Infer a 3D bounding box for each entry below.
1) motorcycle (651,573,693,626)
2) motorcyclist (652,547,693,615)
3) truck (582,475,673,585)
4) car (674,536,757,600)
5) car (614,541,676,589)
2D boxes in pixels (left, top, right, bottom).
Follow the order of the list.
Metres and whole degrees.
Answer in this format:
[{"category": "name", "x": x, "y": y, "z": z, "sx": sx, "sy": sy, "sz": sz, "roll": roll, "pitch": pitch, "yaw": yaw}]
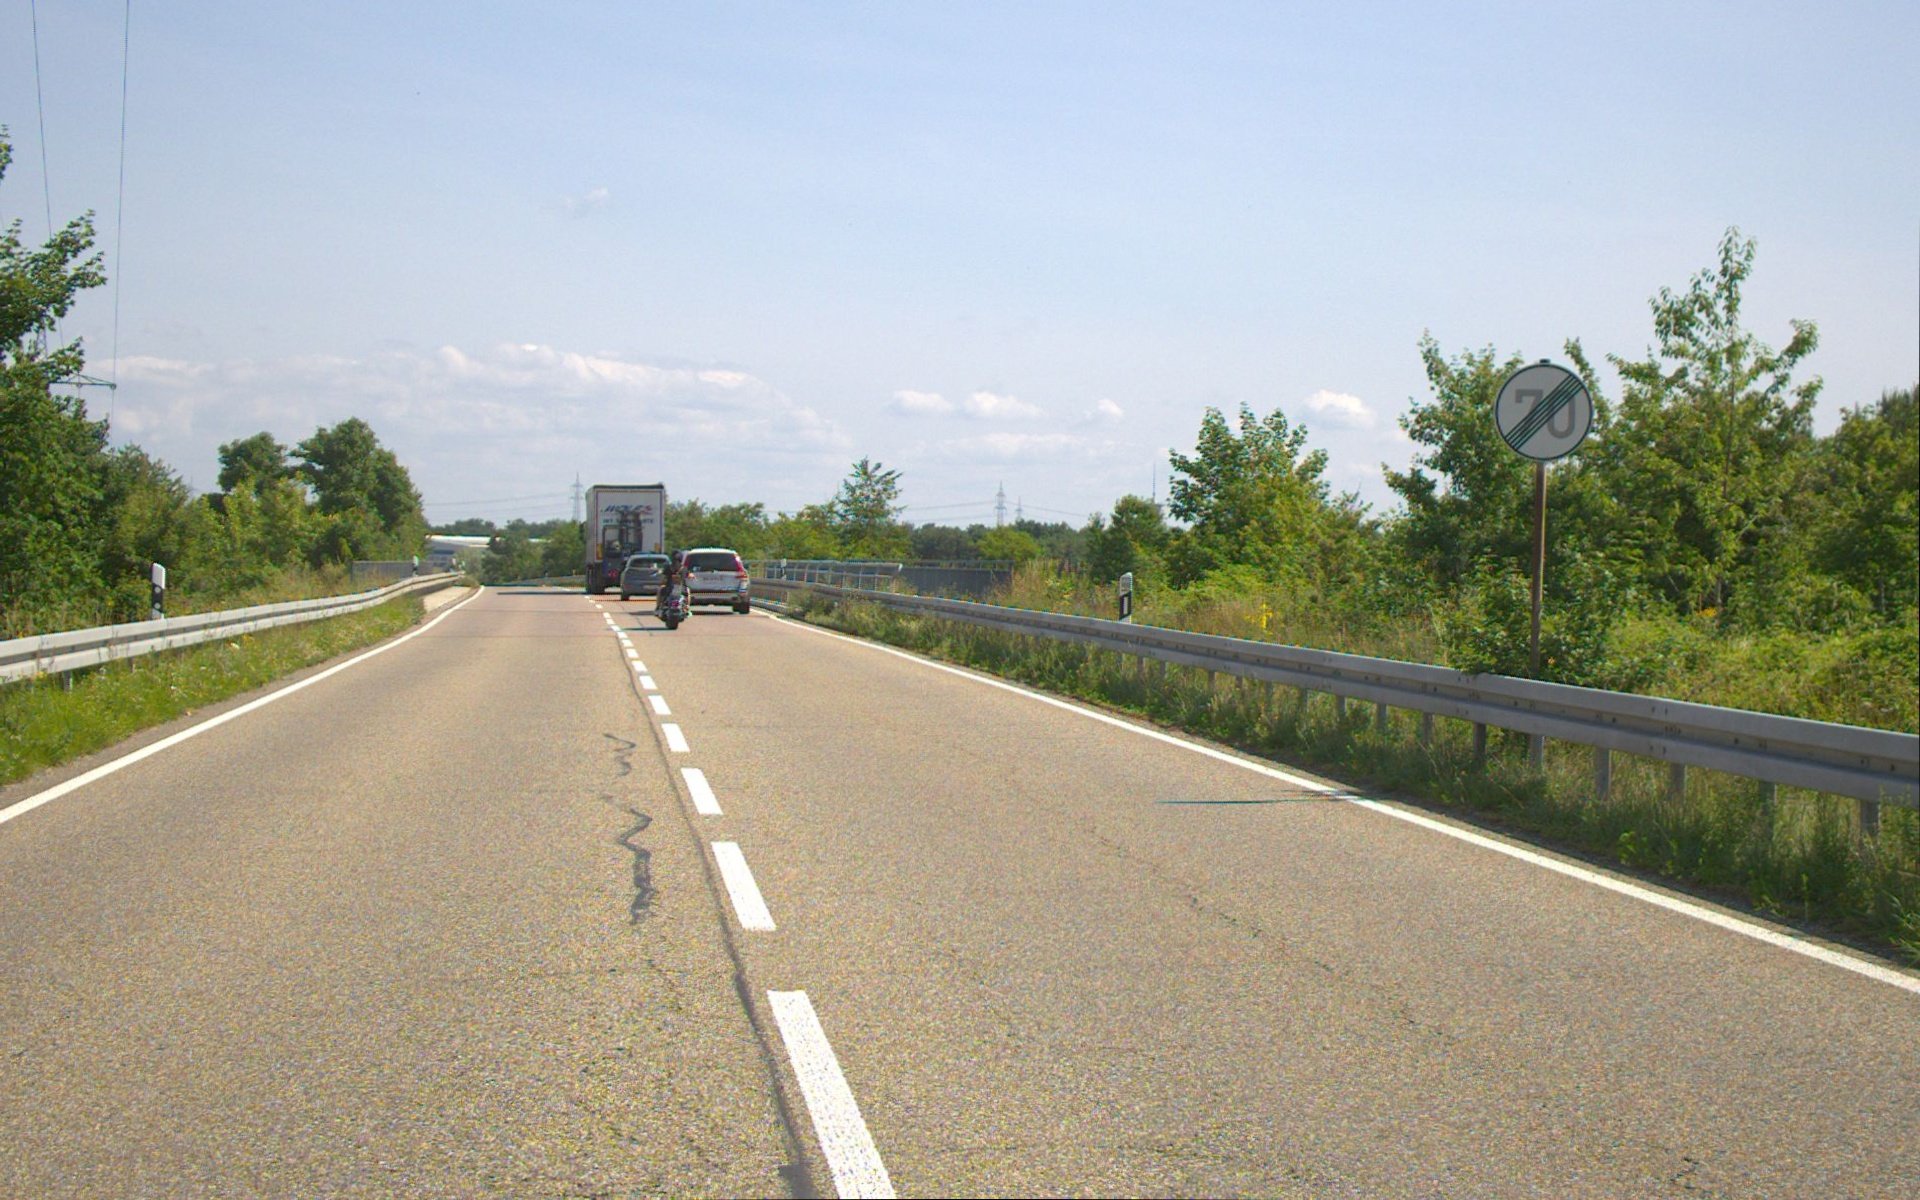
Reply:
[{"category": "motorcycle", "x": -5.689, "y": -0.020, "z": 67.821, "sx": 0.780, "sy": 0.972, "sz": 2.362, "roll": 1, "pitch": 1, "yaw": -5}, {"category": "motorcyclist", "x": -5.675, "y": -0.382, "z": 67.836, "sx": 0.780, "sy": 1.321, "sz": 0.813, "roll": 1, "pitch": 1, "yaw": -5}, {"category": "truck", "x": -12.595, "y": -2.630, "z": 130.497, "sx": 3.241, "sy": 3.965, "sz": 9.445, "roll": 1, "pitch": 1, "yaw": -5}, {"category": "car", "x": -5.886, "y": -0.784, "z": 82.390, "sx": 1.825, "sy": 1.446, "sz": 4.001, "roll": 1, "pitch": 1, "yaw": -6}, {"category": "car", "x": -9.786, "y": -1.091, "z": 106.543, "sx": 1.865, "sy": 1.415, "sz": 4.001, "roll": 1, "pitch": 1, "yaw": -6}]
